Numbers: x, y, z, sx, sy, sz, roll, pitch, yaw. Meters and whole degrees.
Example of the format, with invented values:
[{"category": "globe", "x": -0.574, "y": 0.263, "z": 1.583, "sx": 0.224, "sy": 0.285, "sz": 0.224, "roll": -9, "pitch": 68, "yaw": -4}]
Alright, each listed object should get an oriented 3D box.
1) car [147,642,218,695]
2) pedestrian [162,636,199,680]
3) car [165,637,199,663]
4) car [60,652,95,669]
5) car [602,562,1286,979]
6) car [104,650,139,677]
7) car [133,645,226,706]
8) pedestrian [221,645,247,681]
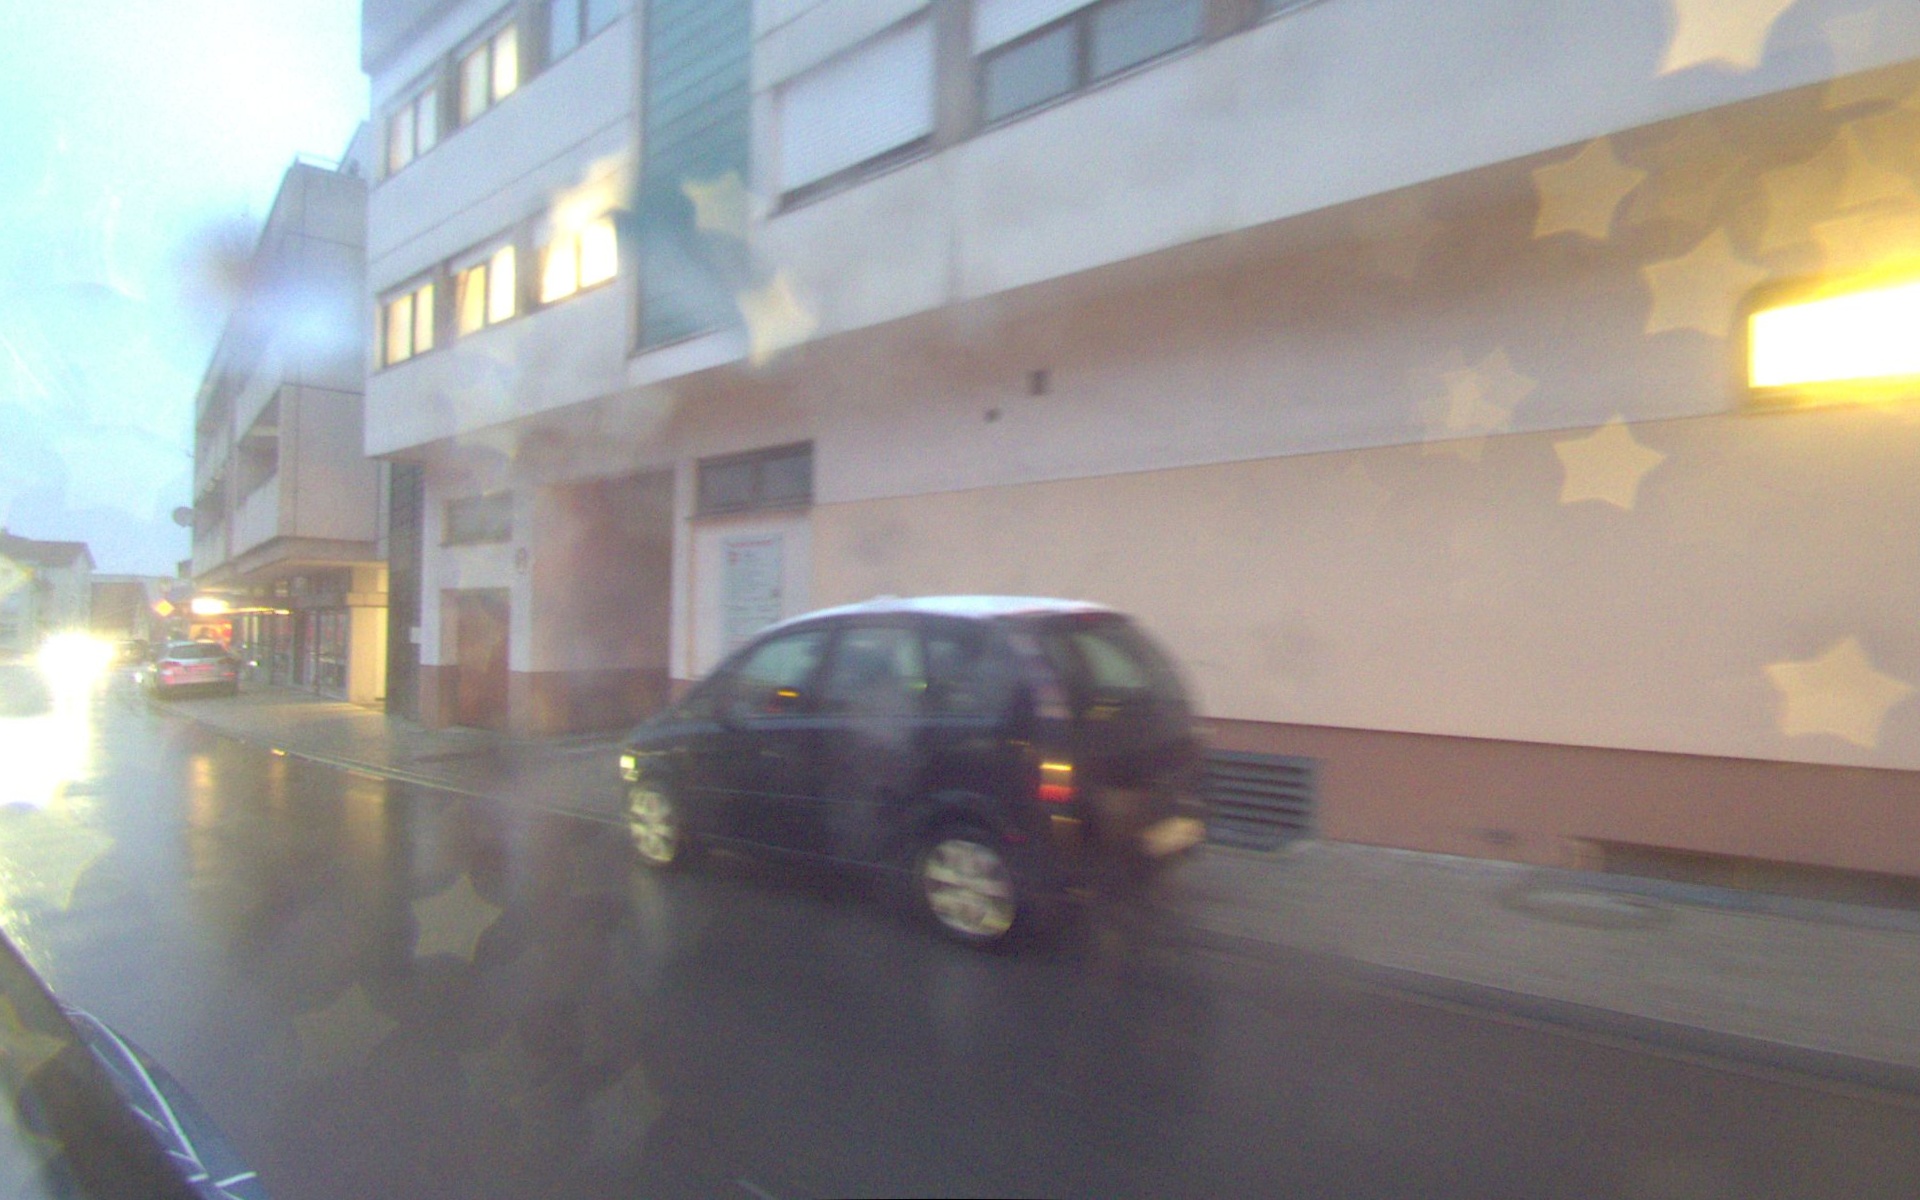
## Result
[{"category": "car", "x": -24.916, "y": 2.139, "z": 32.385, "sx": 1.595, "sy": 1.544, "sz": 3.934, "roll": 0, "pitch": -2, "yaw": -40}, {"category": "pedestrian", "x": -34.814, "y": 2.577, "z": 45.225, "sx": 1.182, "sy": 1.953, "sz": 0.979, "roll": 2, "pitch": -4, "yaw": -33}, {"category": "car", "x": -85.463, "y": 5.468, "z": 111.258, "sx": 2.013, "sy": 2.680, "sz": 4.223, "roll": -2, "pitch": -2, "yaw": -25}, {"category": "car", "x": -80.194, "y": 5.472, "z": 92.021, "sx": 1.770, "sy": 1.522, "sz": 4.011, "roll": 3, "pitch": -4, "yaw": -33}, {"category": "car", "x": -0.298, "y": 0.743, "z": 5.967, "sx": 3.810, "sy": 1.655, "sz": 1.775, "roll": -3, "pitch": -2, "yaw": 41}, {"category": "car", "x": -54.663, "y": 4.104, "z": 65.992, "sx": 1.699, "sy": 1.626, "sz": 3.822, "roll": -1, "pitch": -1, "yaw": -40}, {"category": "car", "x": -21.427, "y": 2.010, "z": 27.714, "sx": 1.655, "sy": 1.457, "sz": 4.433, "roll": -1, "pitch": -1, "yaw": -42}, {"category": "pedestrian", "x": -28.008, "y": 2.413, "z": 39.032, "sx": 0.746, "sy": 1.320, "sz": 0.829, "roll": 0, "pitch": -2, "yaw": -43}]
